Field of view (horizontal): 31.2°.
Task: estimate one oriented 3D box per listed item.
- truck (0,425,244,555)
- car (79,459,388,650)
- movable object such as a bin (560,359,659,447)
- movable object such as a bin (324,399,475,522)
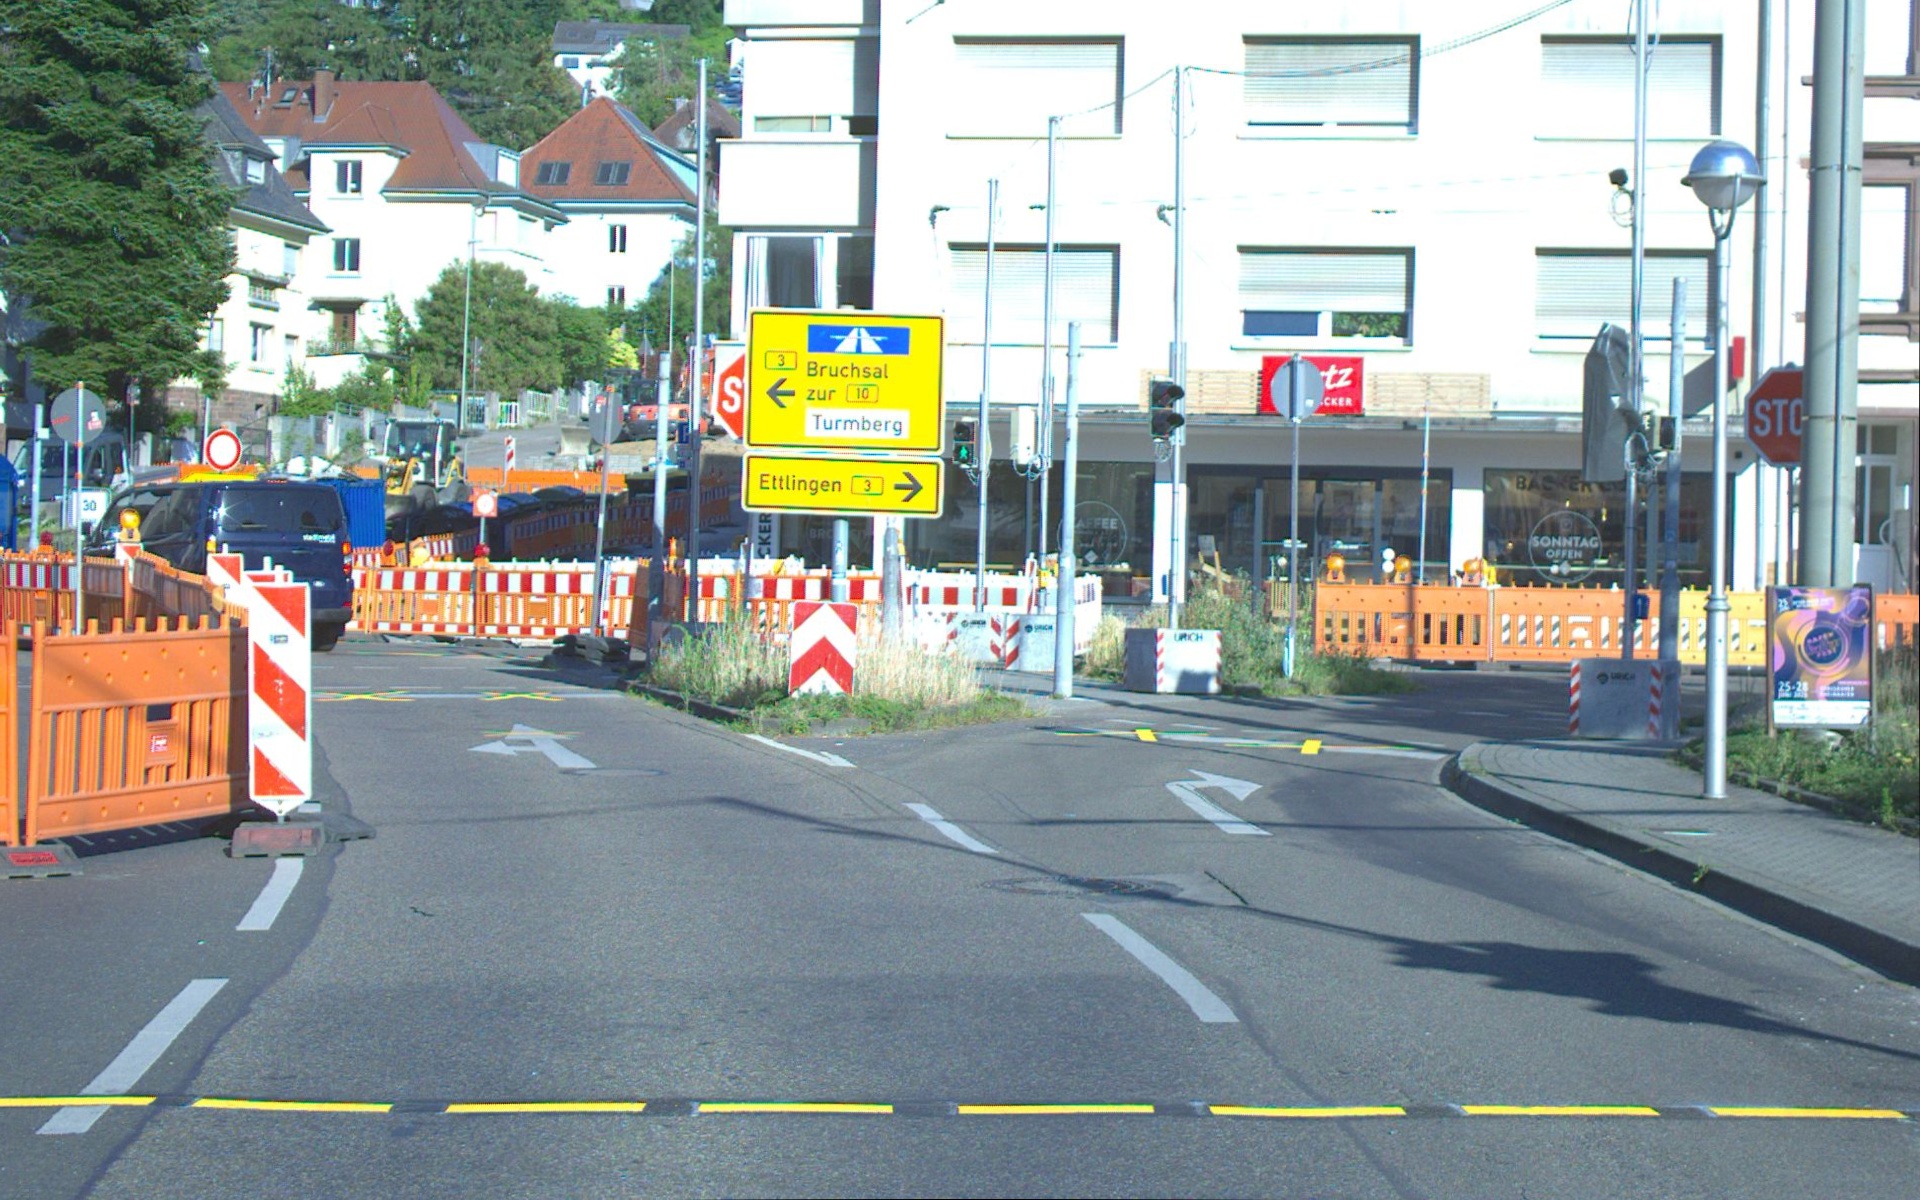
[{"bbox_3d":[-17.235,-2.131,68.731,2.357,2.407,9.148,1,1,11],"label":"truck"},{"bbox_3d":[-8.760,-0.586,41.080,2.061,2.006,5.001,1,3,-31],"label":"car"},{"bbox_3d":[-11.576,-6.500,113.817,2.191,2.681,3.998,1,1,10],"label":"movable object such as a bin"},{"bbox_3d":[-12.913,-3.193,79.430,2.191,2.681,3.998,1,1,10],"label":"movable object such as a bin"}]
